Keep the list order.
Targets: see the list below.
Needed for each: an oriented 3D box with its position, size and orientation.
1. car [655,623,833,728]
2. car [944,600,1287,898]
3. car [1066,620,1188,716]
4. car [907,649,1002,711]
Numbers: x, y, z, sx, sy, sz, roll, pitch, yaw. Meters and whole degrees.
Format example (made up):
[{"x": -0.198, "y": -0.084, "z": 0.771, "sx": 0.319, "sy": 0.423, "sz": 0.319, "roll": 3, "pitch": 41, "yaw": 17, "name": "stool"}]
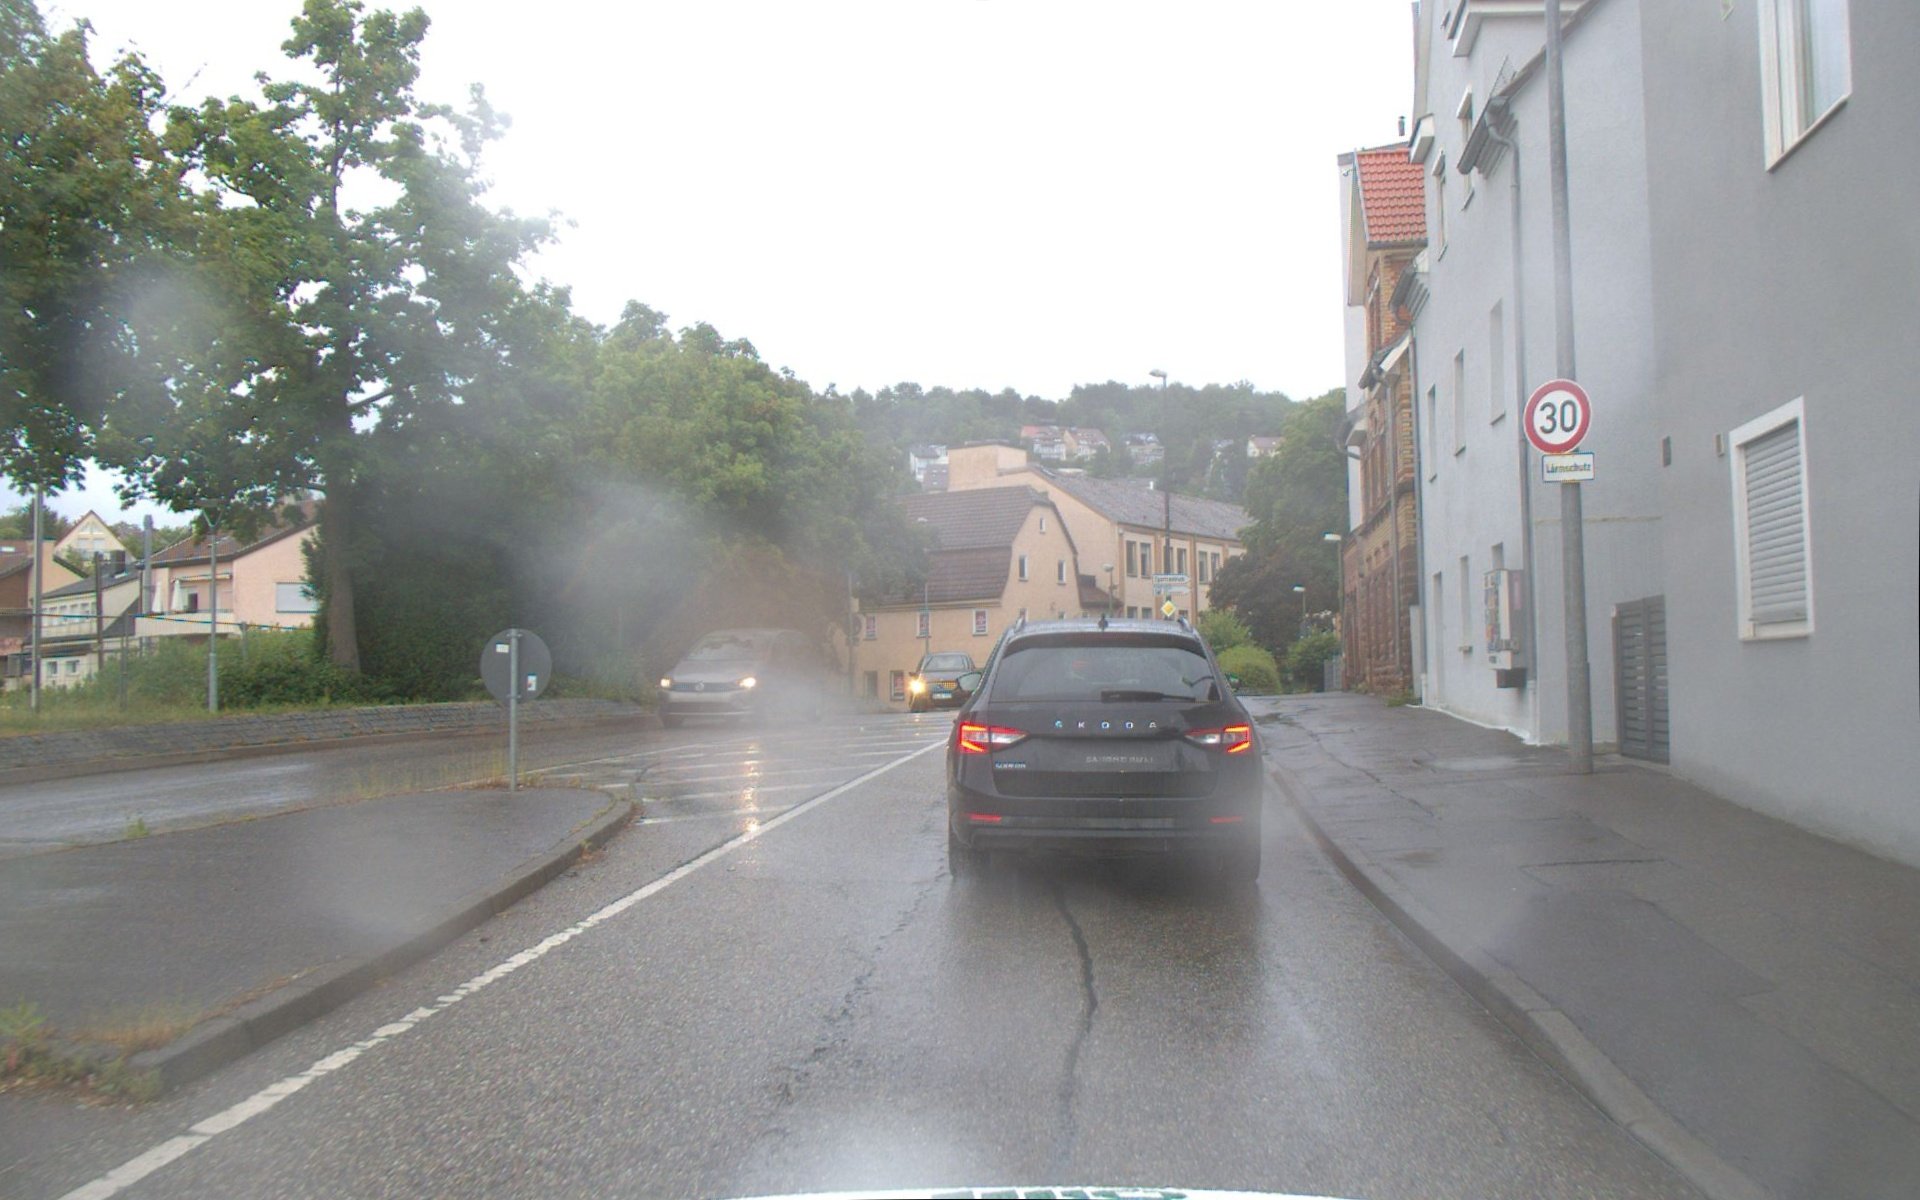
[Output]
[{"x": -3.452, "y": 1.204, "z": 27.224, "sx": 1.608, "sy": 1.579, "sz": 4.158, "roll": -1, "pitch": -2, "yaw": 12, "name": "car"}, {"x": 0.883, "y": 0.773, "z": 10.609, "sx": 1.745, "sy": 1.509, "sz": 4.247, "roll": 0, "pitch": 0, "yaw": 2, "name": "car"}, {"x": 2.729, "y": 1.135, "z": 26.803, "sx": 1.779, "sy": 1.384, "sz": 3.991, "roll": -2, "pitch": -4, "yaw": 6, "name": "car"}, {"x": -0.098, "y": 2.105, "z": 44.266, "sx": 1.605, "sy": 1.547, "sz": 4.073, "roll": -1, "pitch": -2, "yaw": 13, "name": "car"}]
